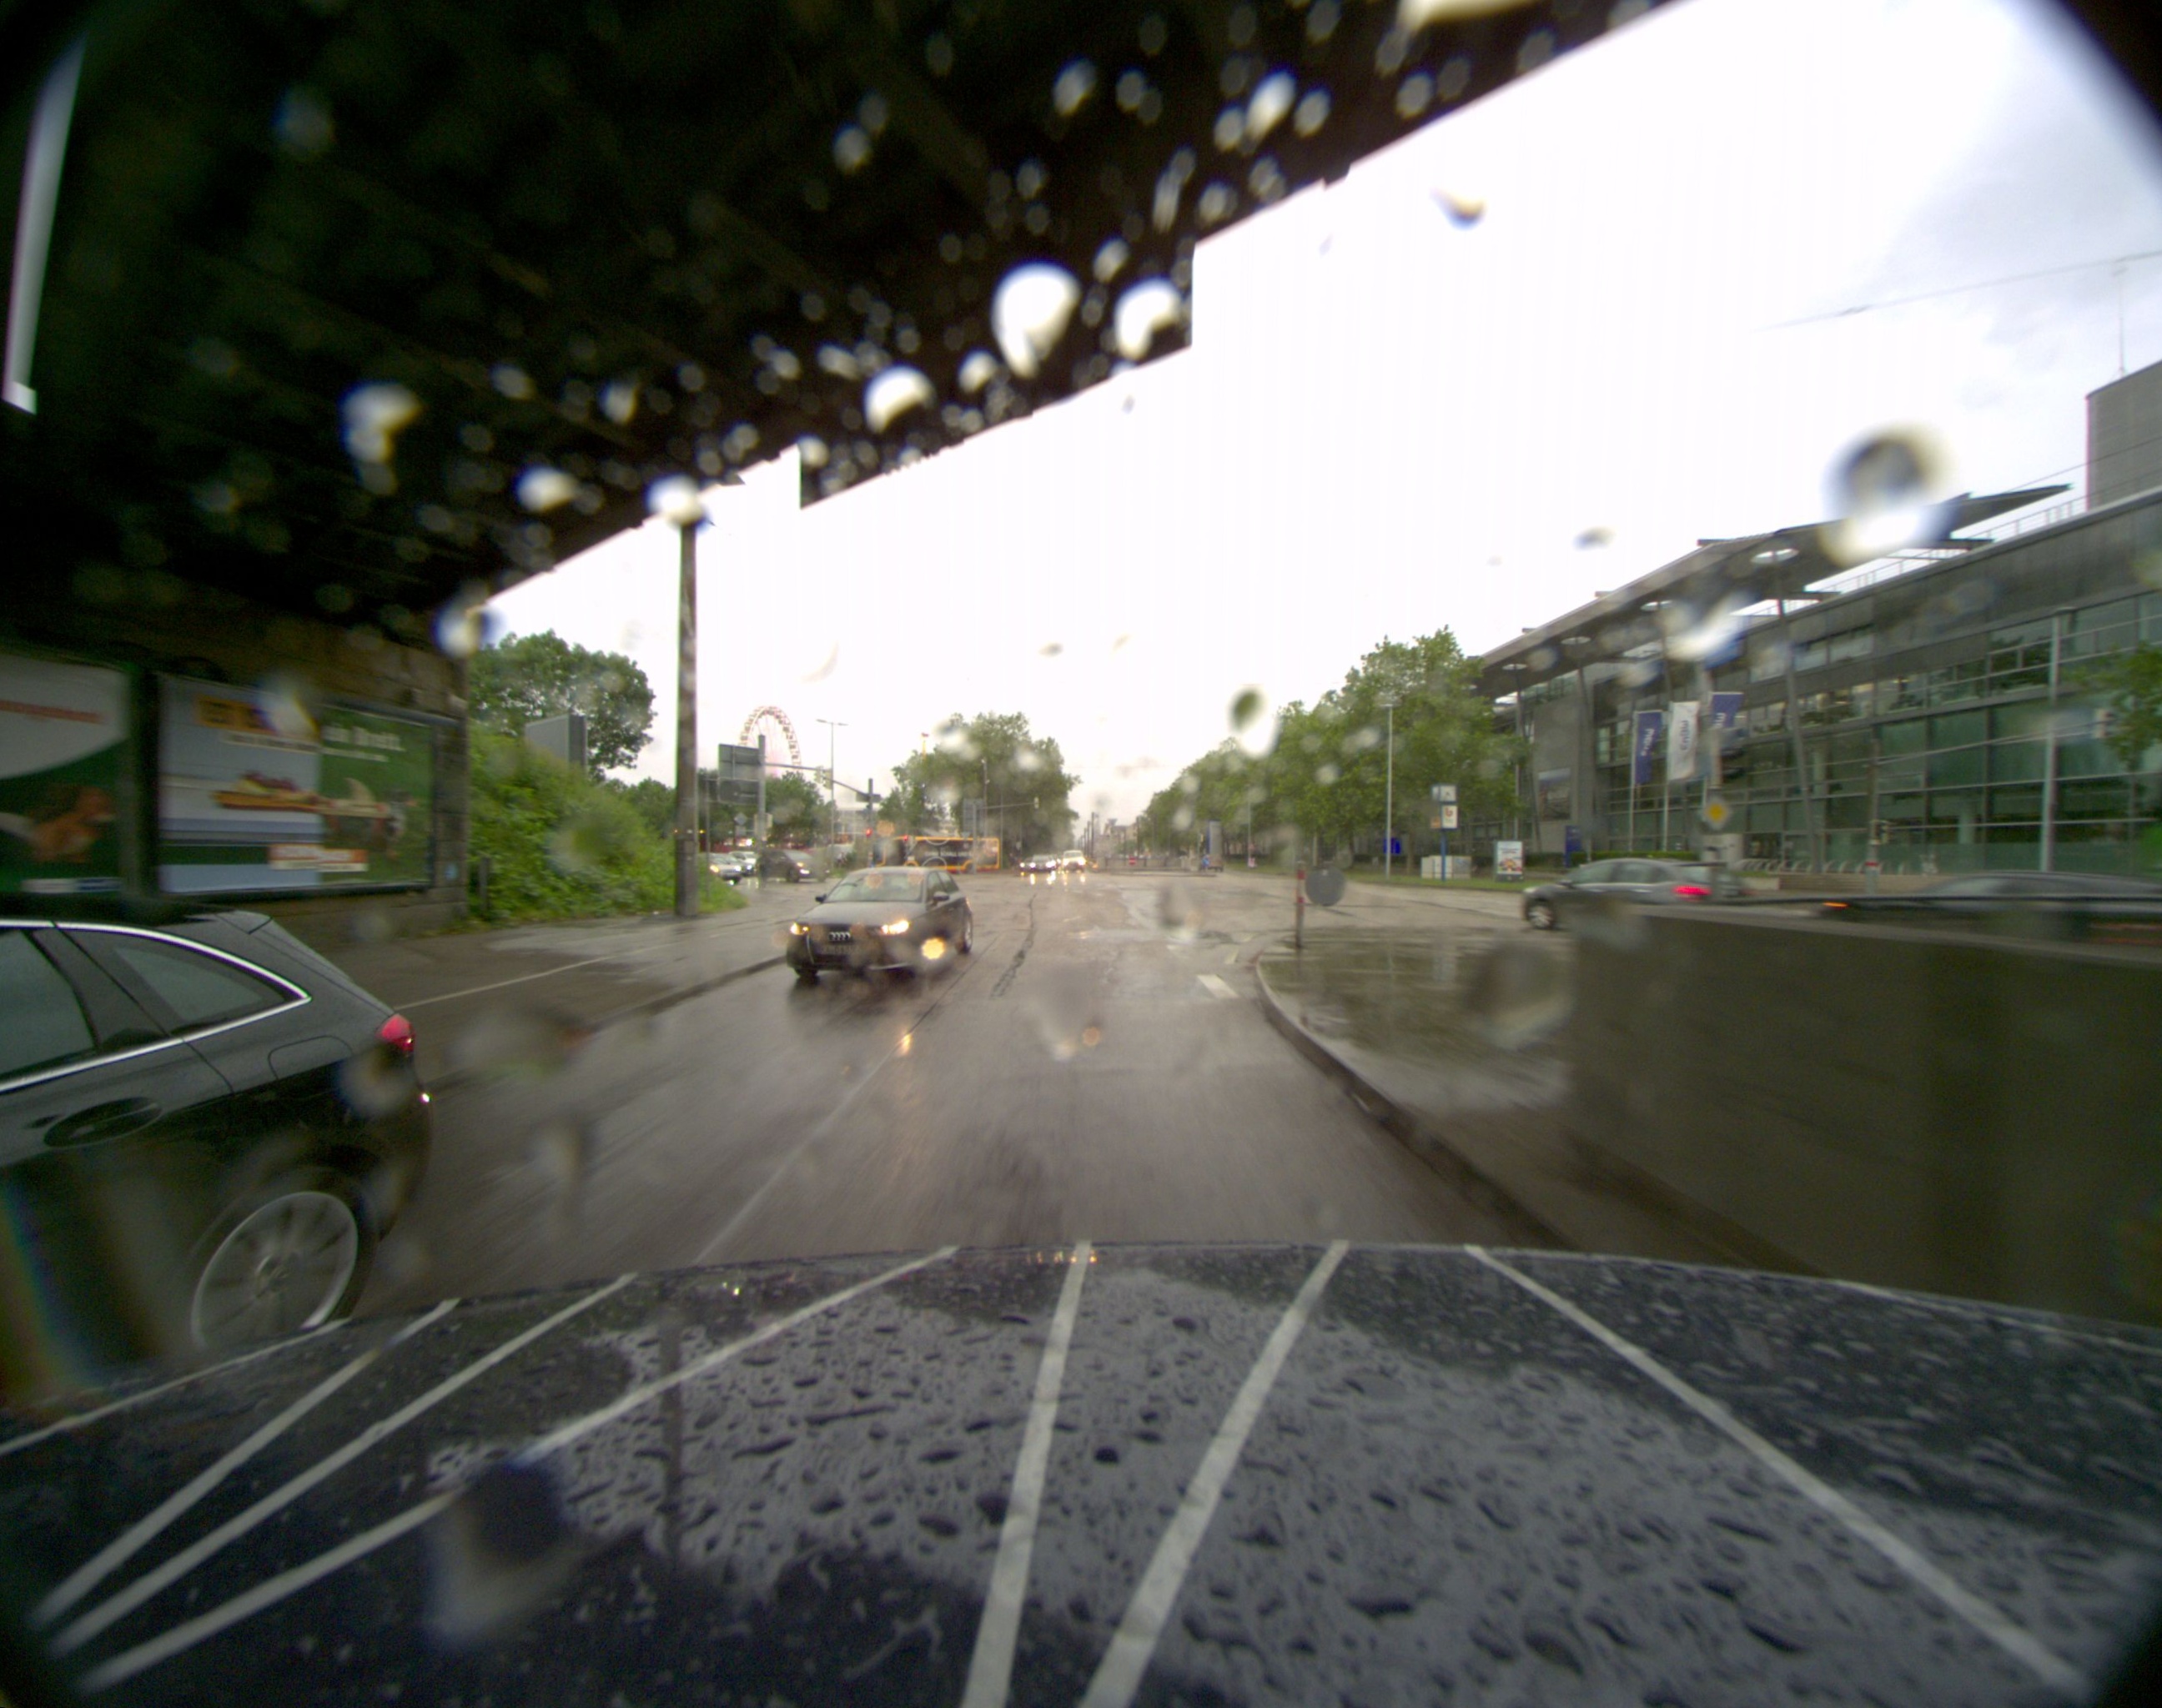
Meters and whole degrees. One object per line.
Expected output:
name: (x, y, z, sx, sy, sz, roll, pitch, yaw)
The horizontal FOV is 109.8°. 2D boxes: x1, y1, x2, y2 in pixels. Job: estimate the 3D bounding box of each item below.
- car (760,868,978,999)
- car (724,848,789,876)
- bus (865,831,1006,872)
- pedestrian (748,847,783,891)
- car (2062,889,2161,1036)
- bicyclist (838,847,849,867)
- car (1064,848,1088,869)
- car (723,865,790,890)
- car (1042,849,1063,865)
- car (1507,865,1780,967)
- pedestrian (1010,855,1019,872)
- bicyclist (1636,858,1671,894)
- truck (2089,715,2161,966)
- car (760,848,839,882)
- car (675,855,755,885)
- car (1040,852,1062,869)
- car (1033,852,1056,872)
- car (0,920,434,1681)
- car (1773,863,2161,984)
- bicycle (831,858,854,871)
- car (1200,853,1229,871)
car: (-2.729, 0.961, 10.736, 1.840, 1.390, 3.754, 0, 1, 3)
car: (-22.056, 0.510, 51.553, 4.289, 1.710, 2.181, 1, 1, 37)
bus: (-12.437, -0.209, 66.352, 12.316, 3.249, 3.265, 0, 1, -44)
pedestrian: (-12.644, 0.603, 30.478, 0.817, 1.709, 1.007, 1, 1, 27)
car: (11.829, 1.135, 6.417, 1.820, 1.444, 3.998, 1, 1, -3)
bicyclist: (-22.300, 0.311, 71.260, 0.620, 1.871, 0.771, 1, 2, 35)
car: (-0.502, 0.366, 69.288, 2.077, 1.838, 4.745, 1, 1, -1)
car: (-19.922, 1.416, 46.632, 3.988, 1.350, 1.837, 1, 1, 32)
car: (-3.501, 0.364, 91.439, 2.078, 1.838, 4.742, 1, 1, -7)
car: (10.387, 1.040, 14.453, 1.661, 1.537, 3.994, 0, 1, -15)
pedestrian: (-6.263, 0.885, 71.480, 0.644, 1.641, 0.626, 1, 0, 6)
bicyclist: (25.613, 0.977, 34.028, 0.804, 1.584, 1.047, 1, -1, 4)
truck: (18.371, -0.161, 7.639, 2.686, 3.926, 10.192, 1, 0, -1)
car: (-14.763, 0.527, 39.797, 4.049, 1.647, 2.033, 1, 1, 38)
car: (-18.768, 0.778, 38.927, 3.988, 1.341, 1.902, 2, 1, 33)
car: (-3.350, 0.694, 83.464, 1.891, 1.744, 3.996, 0, 1, -10)
car: (-3.235, 0.687, 67.491, 1.932, 1.641, 4.341, 1, 1, -2)
car: (-3.244, 1.024, 0.634, 1.875, 1.515, 4.086, -1, 0, 0)
car: (14.553, 0.956, 12.462, 1.746, 1.477, 4.681, 1, 1, -8)
bicycle: (-22.372, 0.998, 71.331, 2.253, 1.158, 0.823, 1, 1, 34)
car: (12.865, 0.756, 73.269, 1.905, 1.622, 4.169, 1, 0, -2)
